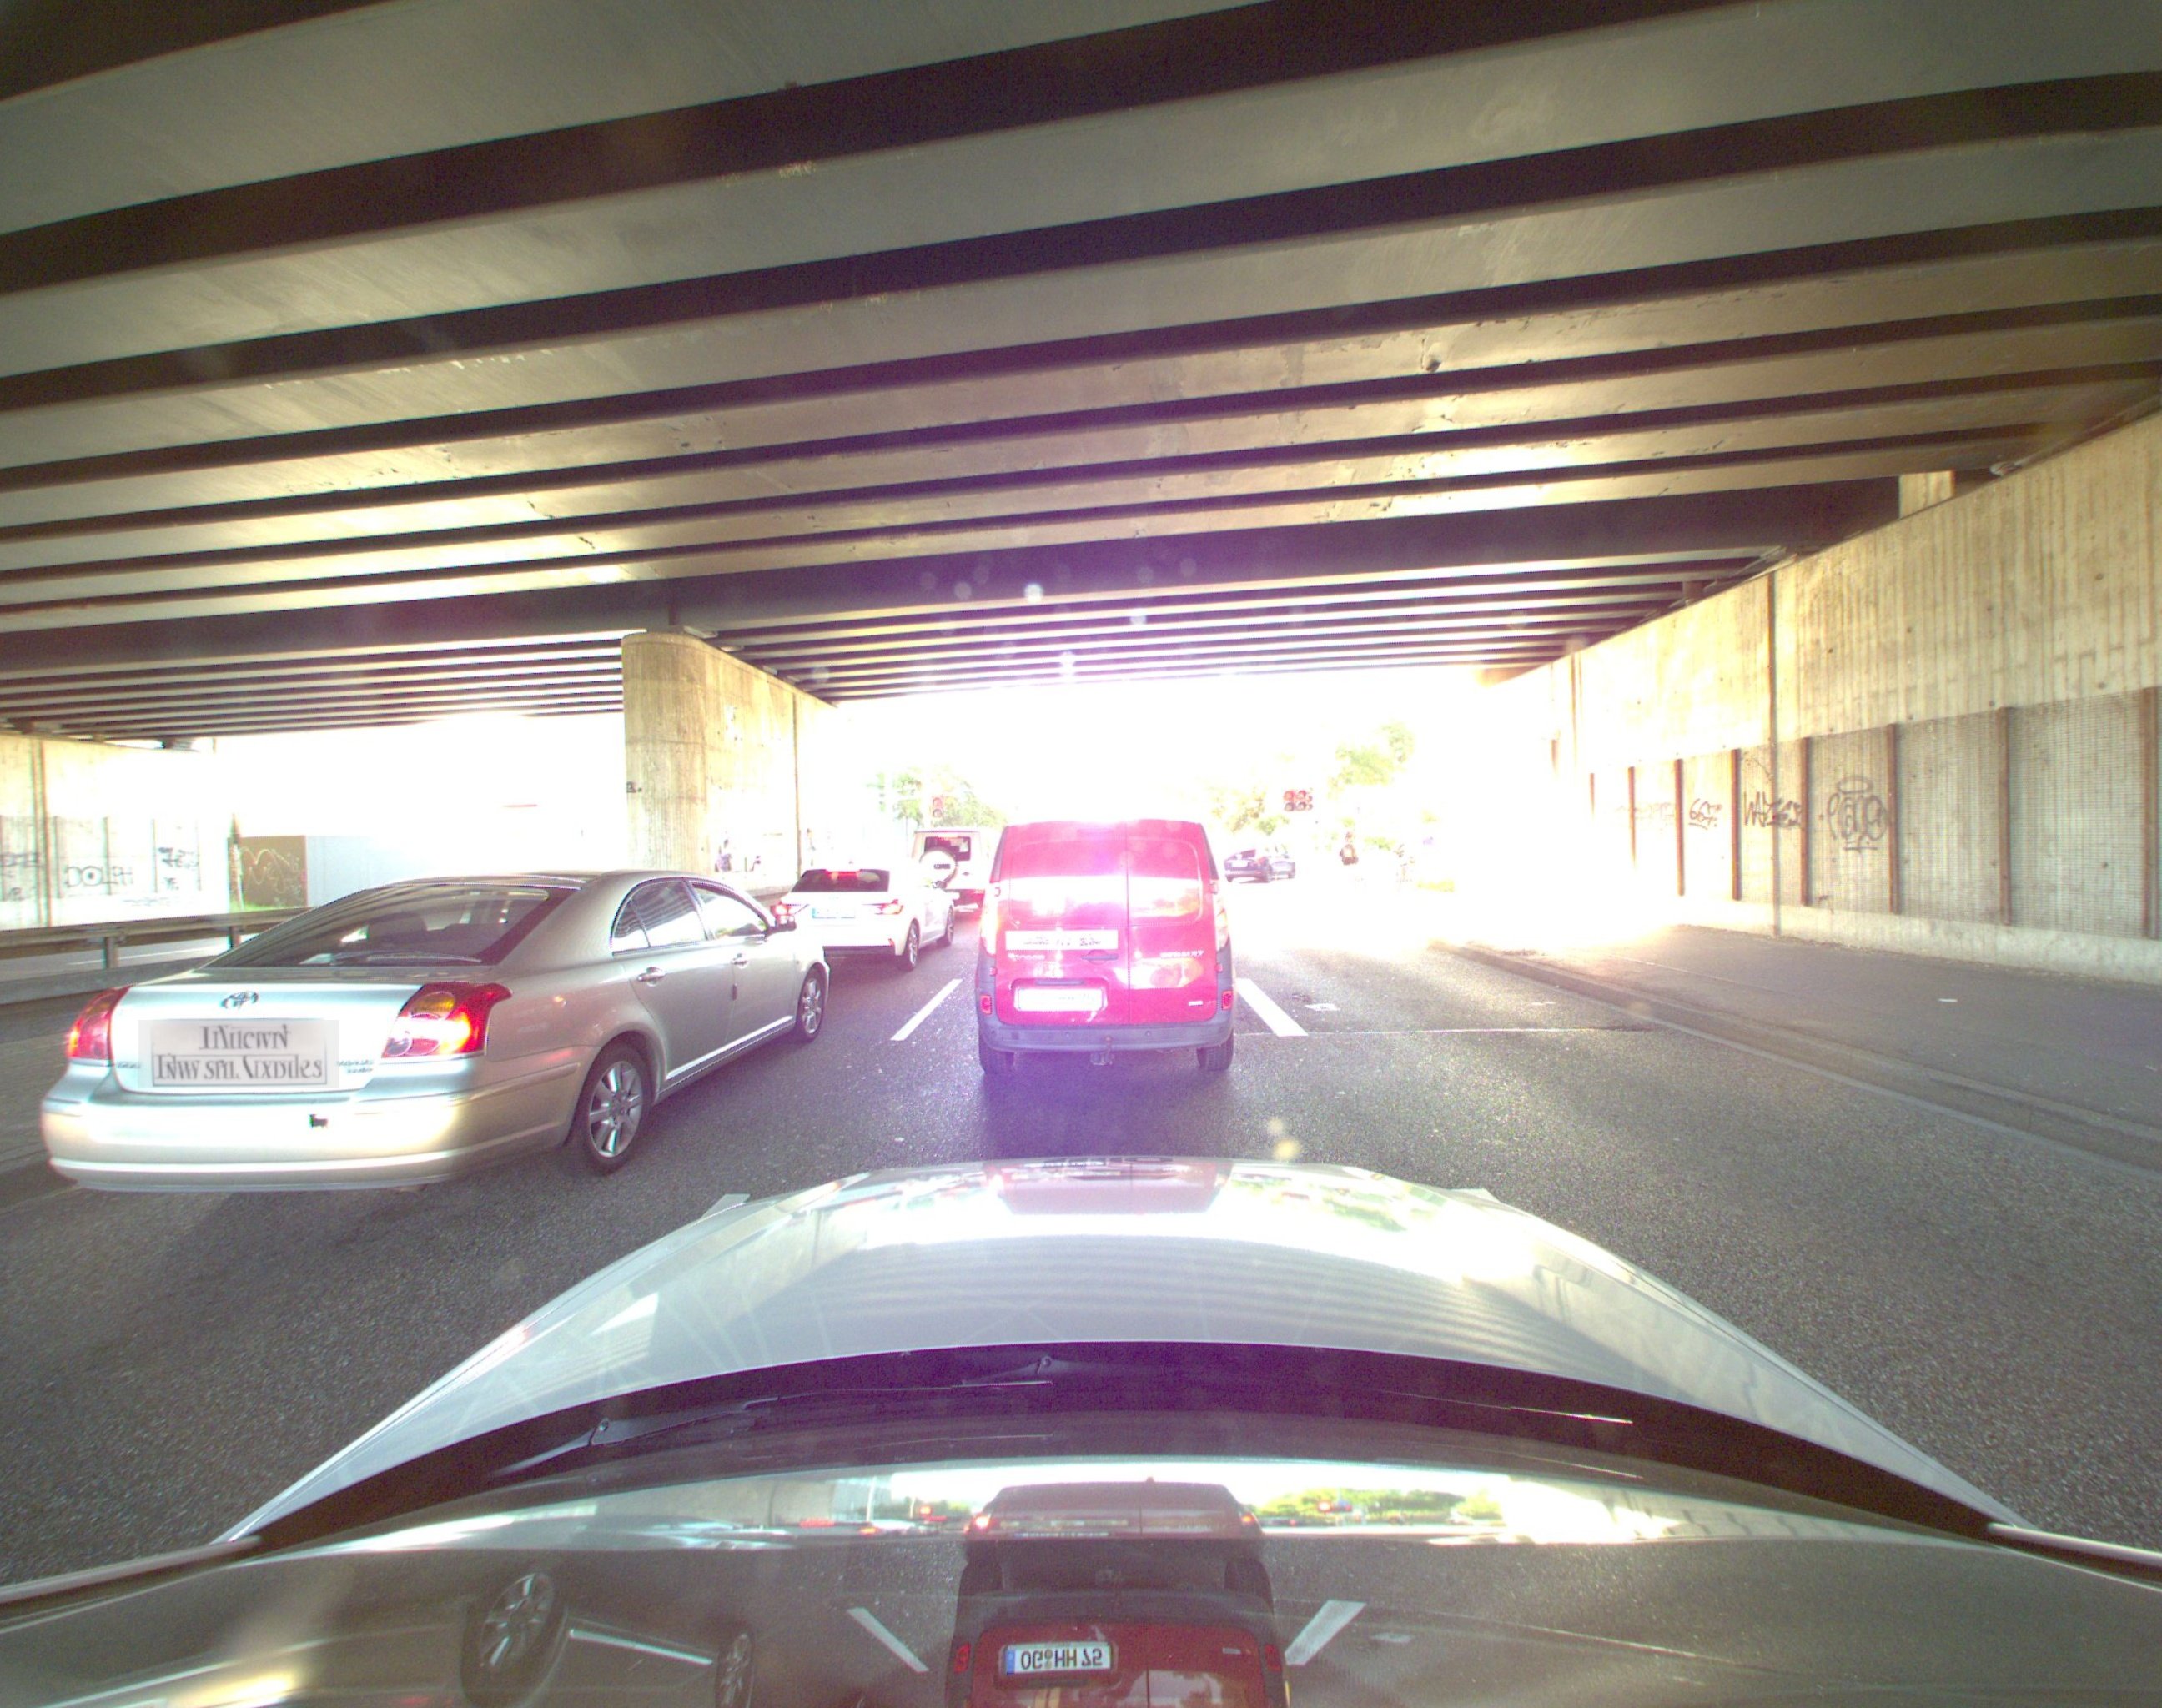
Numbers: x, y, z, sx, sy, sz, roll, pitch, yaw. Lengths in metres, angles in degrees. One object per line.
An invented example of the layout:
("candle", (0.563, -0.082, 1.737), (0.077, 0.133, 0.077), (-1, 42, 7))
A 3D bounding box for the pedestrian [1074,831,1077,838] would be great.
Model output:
("pedestrian", (-1.506, -4.999, 208.679), (0.736, 2.014, 0.638), (0, -1, 5))

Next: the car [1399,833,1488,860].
("car", (21.393, -0.416, 48.198), (4.521, 1.514, 1.832), (-1, -1, 9))

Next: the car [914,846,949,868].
("car", (-13.193, 0.251, 72.124), (1.817, 1.737, 4.634), (-4, 0, 4))

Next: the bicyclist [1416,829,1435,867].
("bicyclist", (13.625, -0.230, 32.204), (0.644, 1.480, 0.621), (-1, 1, 19))

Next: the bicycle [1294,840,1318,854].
("bicycle", (17.190, -0.508, 62.146), (1.734, 1.023, 0.595), (-1, -1, 10))

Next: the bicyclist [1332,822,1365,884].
("bicyclist", (7.142, -0.015, 21.763), (0.589, 1.613, 0.943), (0, -1, 2))

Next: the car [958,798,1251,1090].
("car", (0.207, 0.574, 7.040), (1.798, 1.794, 4.001), (0, -1, 2))

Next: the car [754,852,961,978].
("car", (-2.947, 0.719, 11.601), (1.807, 1.438, 3.732), (-1, 1, 1))

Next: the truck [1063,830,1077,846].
("truck", (-2.182, -3.111, 164.411), (2.399, 3.026, 6.661), (-4, 0, 3))

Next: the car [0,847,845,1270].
("car", (-3.004, 0.735, 5.096), (1.727, 1.480, 4.319), (-1, 0, 0))

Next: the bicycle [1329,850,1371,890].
("bicycle", (7.160, 0.421, 21.724), (0.589, 1.023, 1.751), (0, -1, 2))

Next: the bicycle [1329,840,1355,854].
("bicycle", (19.426, -0.537, 60.629), (1.734, 1.023, 0.595), (-1, -1, 10))

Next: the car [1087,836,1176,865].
("car", (2.714, -0.198, 44.384), (4.545, 1.514, 1.823), (0, -1, -8))

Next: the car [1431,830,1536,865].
("car", (19.321, -0.298, 39.157), (4.177, 1.543, 1.882), (-1, 0, -8))

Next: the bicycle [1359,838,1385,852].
("bicycle", (21.292, -0.639, 59.600), (1.733, 1.023, 0.596), (-1, -1, 13))

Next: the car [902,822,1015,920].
("car", (-2.707, 0.366, 19.053), (1.794, 1.989, 4.591), (0, -1, 2))

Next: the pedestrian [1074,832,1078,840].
("pedestrian", (-1.398, -4.912, 219.524), (0.936, 2.014, 0.695), (0, -1, 5))

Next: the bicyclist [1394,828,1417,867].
("bicyclist", (12.280, -0.246, 30.837), (0.660, 1.474, 0.753), (-1, -1, 12))

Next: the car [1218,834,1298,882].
("car", (6.876, 0.129, 31.355), (1.702, 1.706, 4.007), (-1, 0, 32))

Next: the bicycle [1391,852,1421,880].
("bicycle", (12.293, 0.440, 30.849), (0.667, 1.023, 2.062), (-1, -1, 12))

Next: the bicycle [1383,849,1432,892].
("bicycle", (8.245, 0.404, 20.617), (0.589, 1.023, 1.751), (0, -1, 2))

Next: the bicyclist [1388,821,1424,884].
("bicyclist", (8.228, -0.040, 20.631), (0.589, 1.548, 0.769), (0, -1, 1))
